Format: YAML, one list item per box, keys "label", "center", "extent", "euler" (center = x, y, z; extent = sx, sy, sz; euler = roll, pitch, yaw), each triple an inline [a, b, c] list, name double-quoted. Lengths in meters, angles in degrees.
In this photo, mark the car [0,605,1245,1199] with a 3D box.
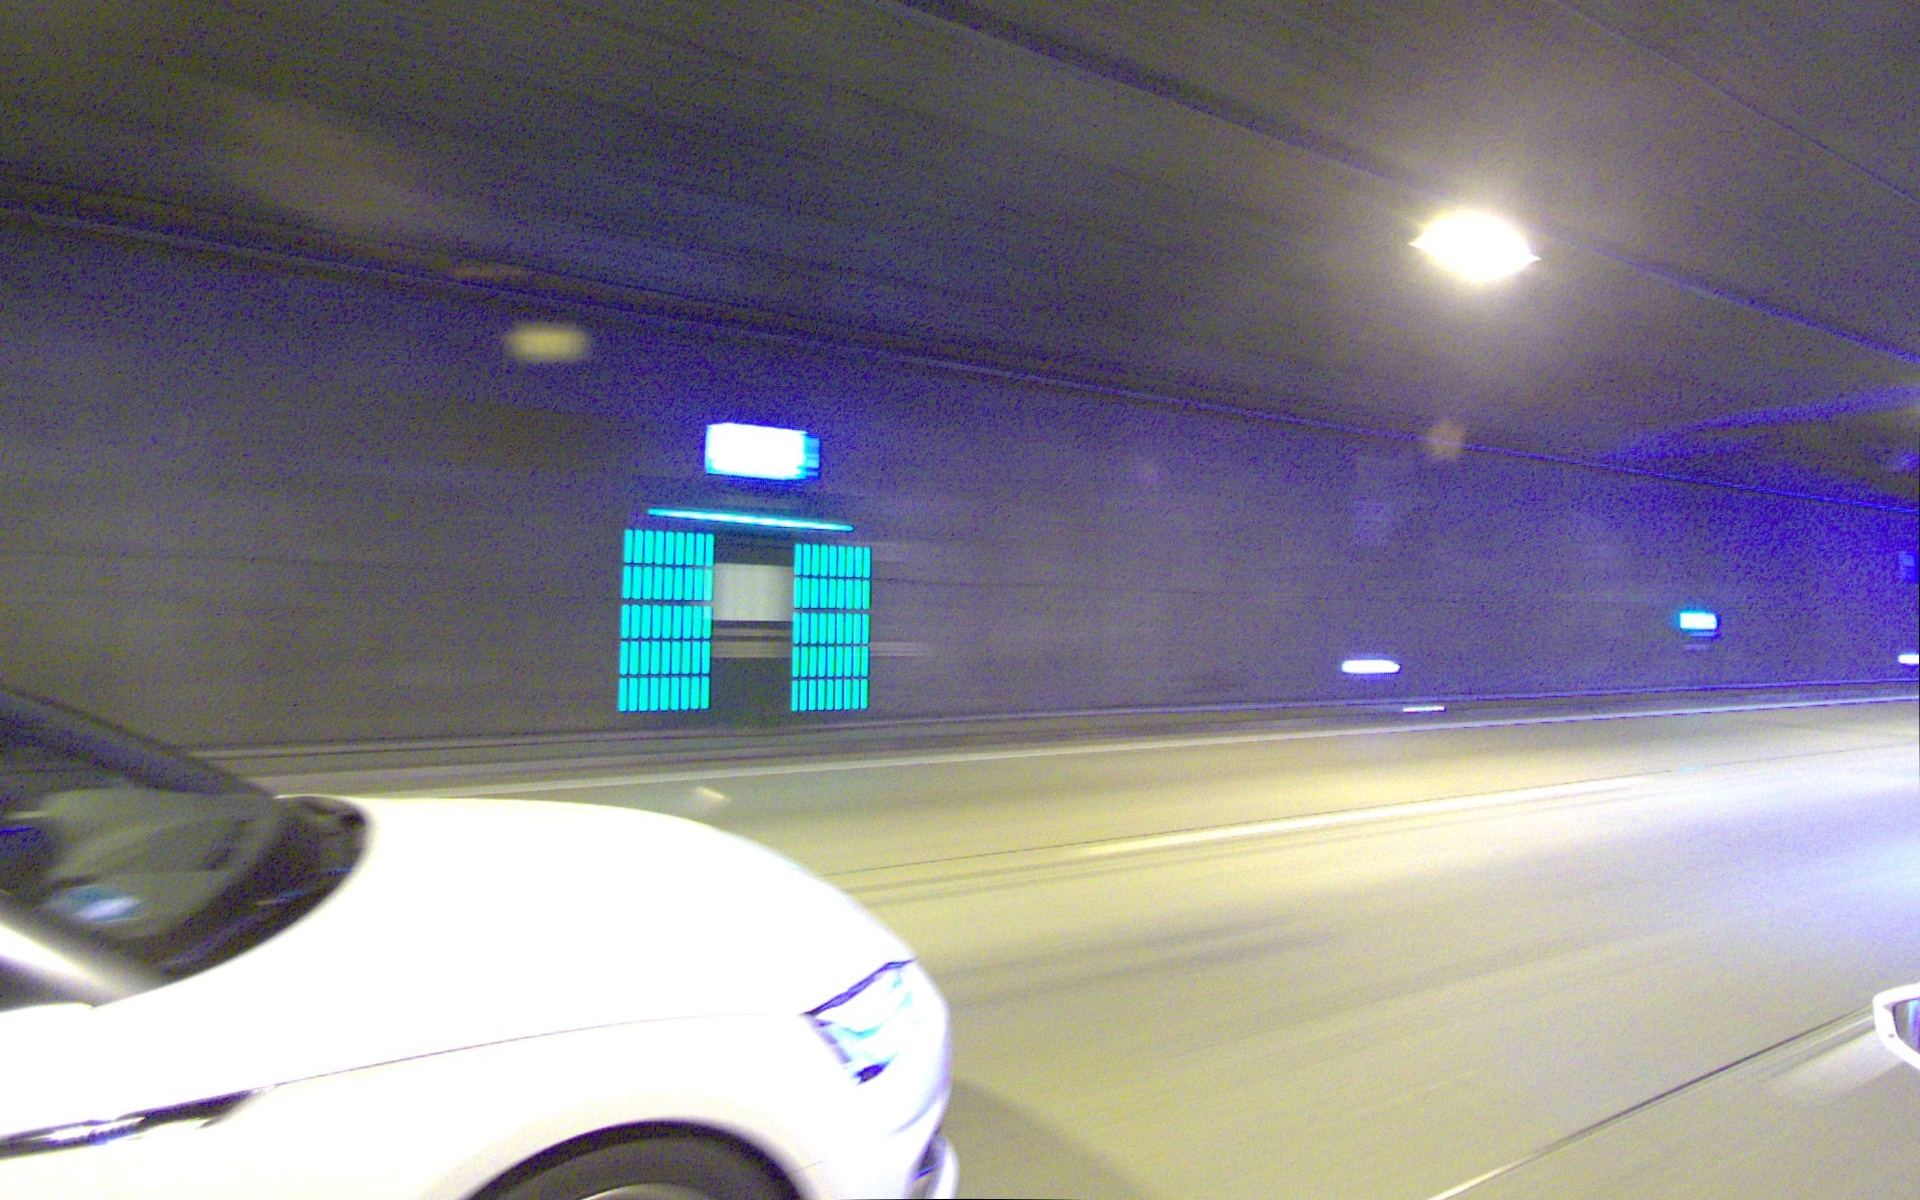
- label: "car"
  center: [-1.986, 0.725, 1.588]
  extent: [5.001, 1.437, 1.694]
  euler: [2, -1, -30]
